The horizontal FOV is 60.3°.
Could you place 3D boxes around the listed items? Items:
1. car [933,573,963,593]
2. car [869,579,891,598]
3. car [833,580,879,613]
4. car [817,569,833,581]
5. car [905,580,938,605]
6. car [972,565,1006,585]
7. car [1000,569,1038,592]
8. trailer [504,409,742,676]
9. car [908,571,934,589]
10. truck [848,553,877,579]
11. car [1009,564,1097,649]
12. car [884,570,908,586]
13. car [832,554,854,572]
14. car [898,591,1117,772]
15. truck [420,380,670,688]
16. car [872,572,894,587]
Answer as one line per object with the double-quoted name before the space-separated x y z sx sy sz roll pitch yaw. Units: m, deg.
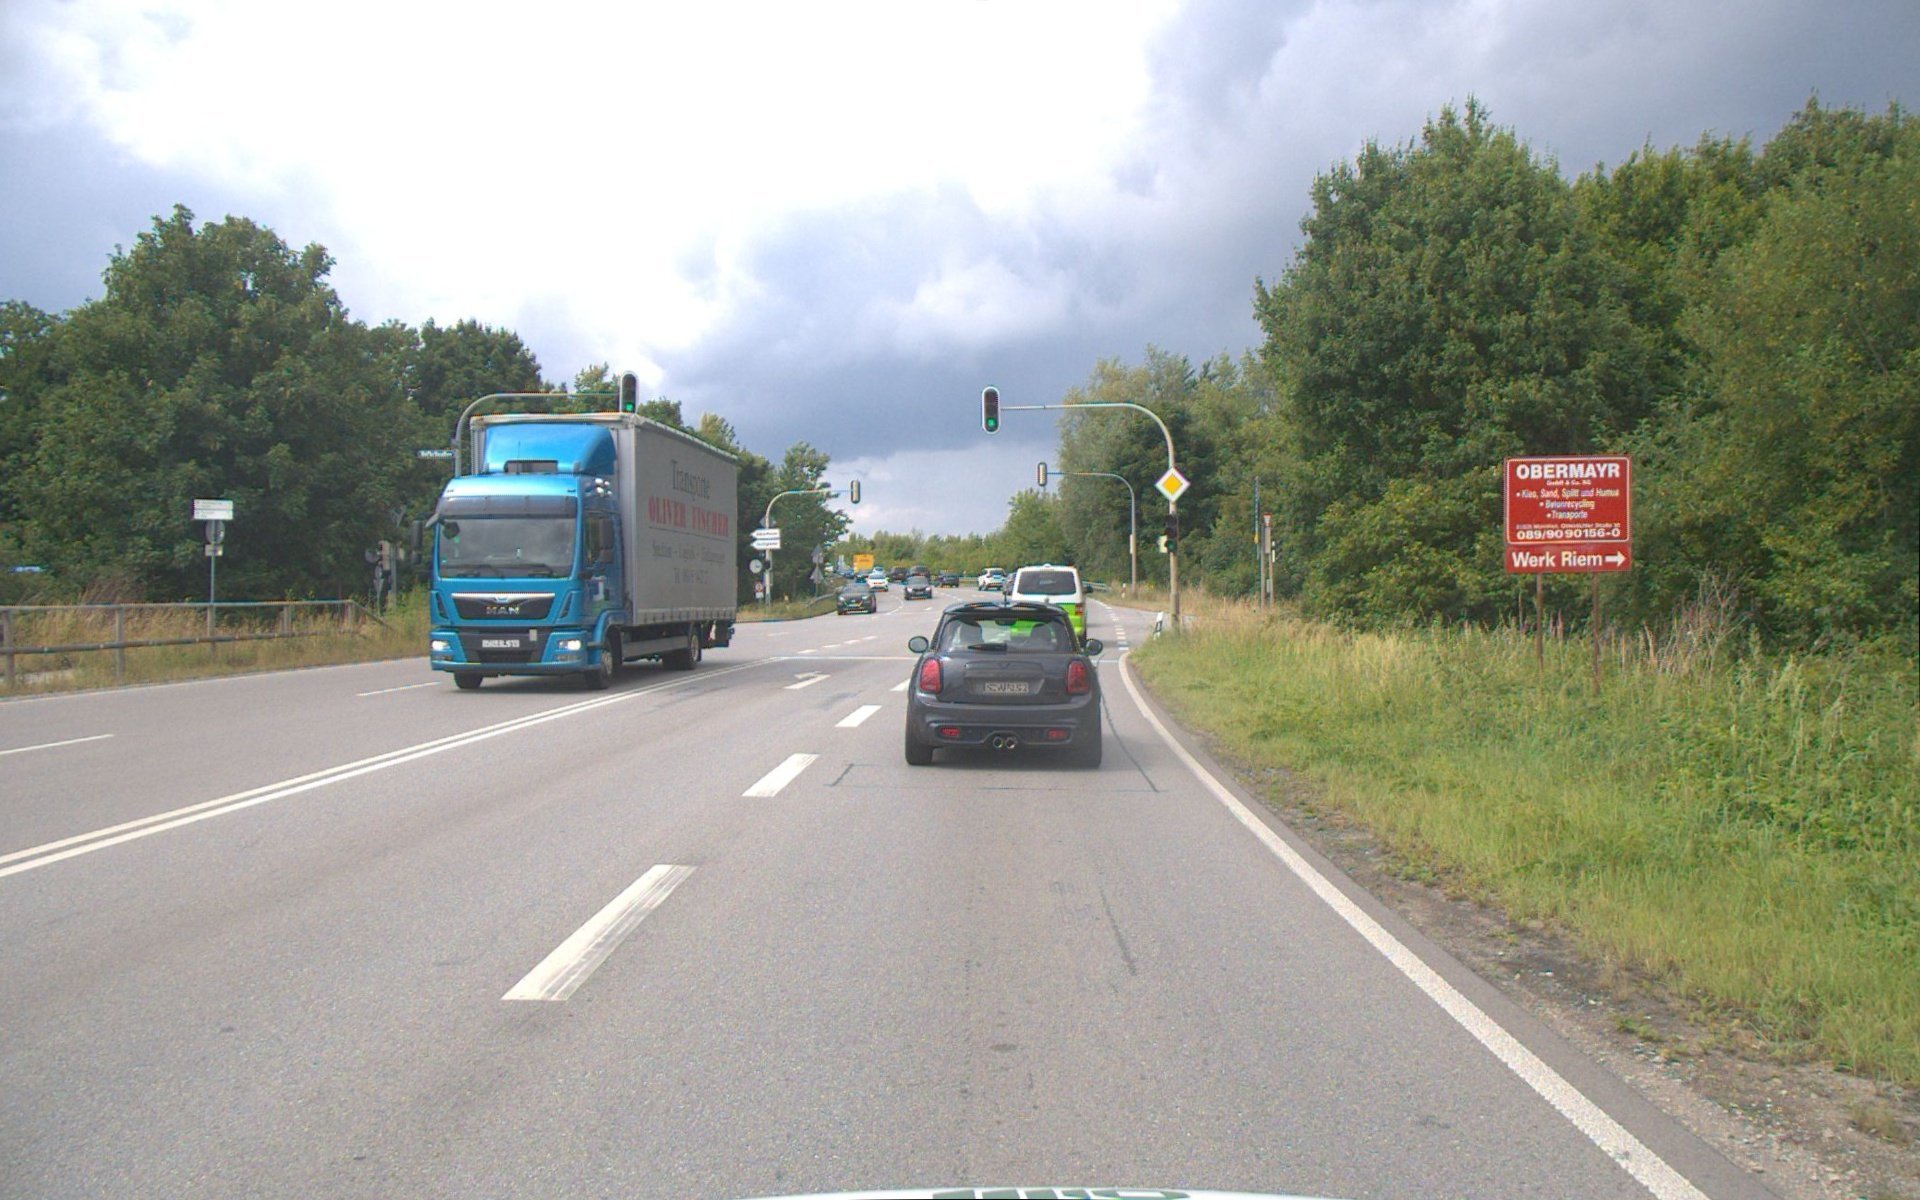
"car" -1.106 -1.492 147.569 1.957 1.725 4.475 0 0 -10
"car" -6.623 -0.997 137.281 1.694 1.531 4.346 -1 1 -1
"car" -5.321 -0.196 85.006 1.753 1.601 4.002 0 0 5
"car" -18.771 -3.484 229.728 1.956 1.641 3.994 -1 2 -7
"car" -2.604 -0.531 112.961 1.751 1.556 4.906 -3 0 4
"car" 2.246 -1.905 128.503 1.956 1.502 4.477 0 0 -9
"car" 3.934 -1.262 110.554 1.955 1.502 4.481 0 0 -5
"trailer" -5.725 -0.920 29.248 2.474 4.172 6.738 0 0 3
"car" -3.819 -1.920 161.969 1.957 1.725 4.475 0 0 -10
"truck" -12.664 -4.390 213.906 2.668 2.949 8.748 1 -1 -10
"car" 2.393 0.112 41.542 1.805 2.021 3.845 0 1 9
"car" -6.920 -2.348 178.407 1.958 1.725 4.472 0 0 -12
"car" -11.766 -3.686 165.632 1.956 1.719 3.994 -1 2 -7
"car" 0.403 0.667 15.651 1.807 1.453 3.841 0 1 0
"truck" -5.985 -0.898 24.451 2.486 4.168 4.002 0 0 3
"car" -9.194 -2.458 197.434 1.958 1.818 4.472 0 0 -12
